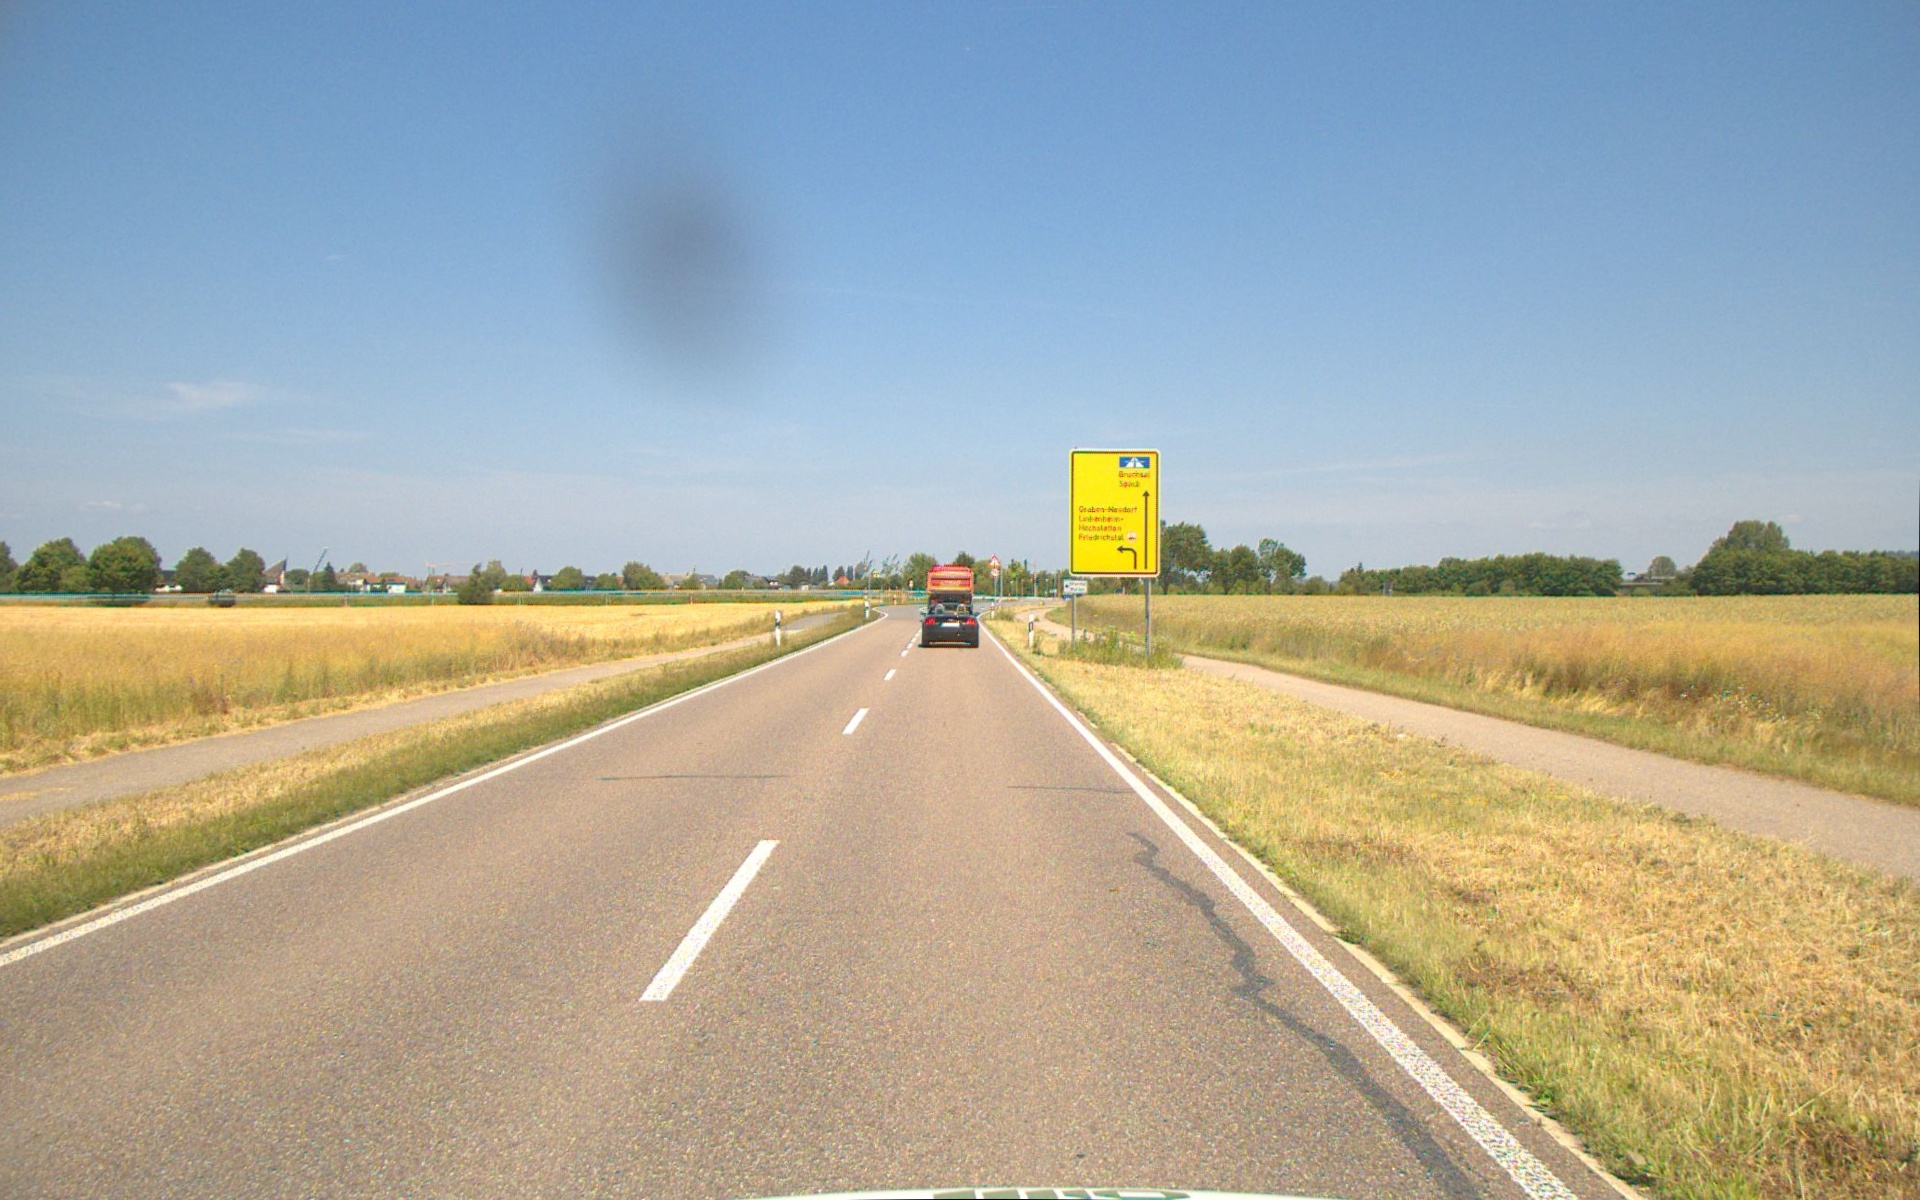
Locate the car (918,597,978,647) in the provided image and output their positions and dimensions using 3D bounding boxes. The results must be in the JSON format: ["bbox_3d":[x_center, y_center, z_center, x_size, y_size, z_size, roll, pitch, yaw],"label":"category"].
[{"bbox_3d":[-0.354,0.658,50.150,1.712,1.399,3.678,2,-1,-1],"label":"car"}]

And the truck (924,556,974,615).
[{"bbox_3d":[-0.630,-0.728,92.727,2.659,3.106,8.163,1,-1,-1],"label":"truck"}]
